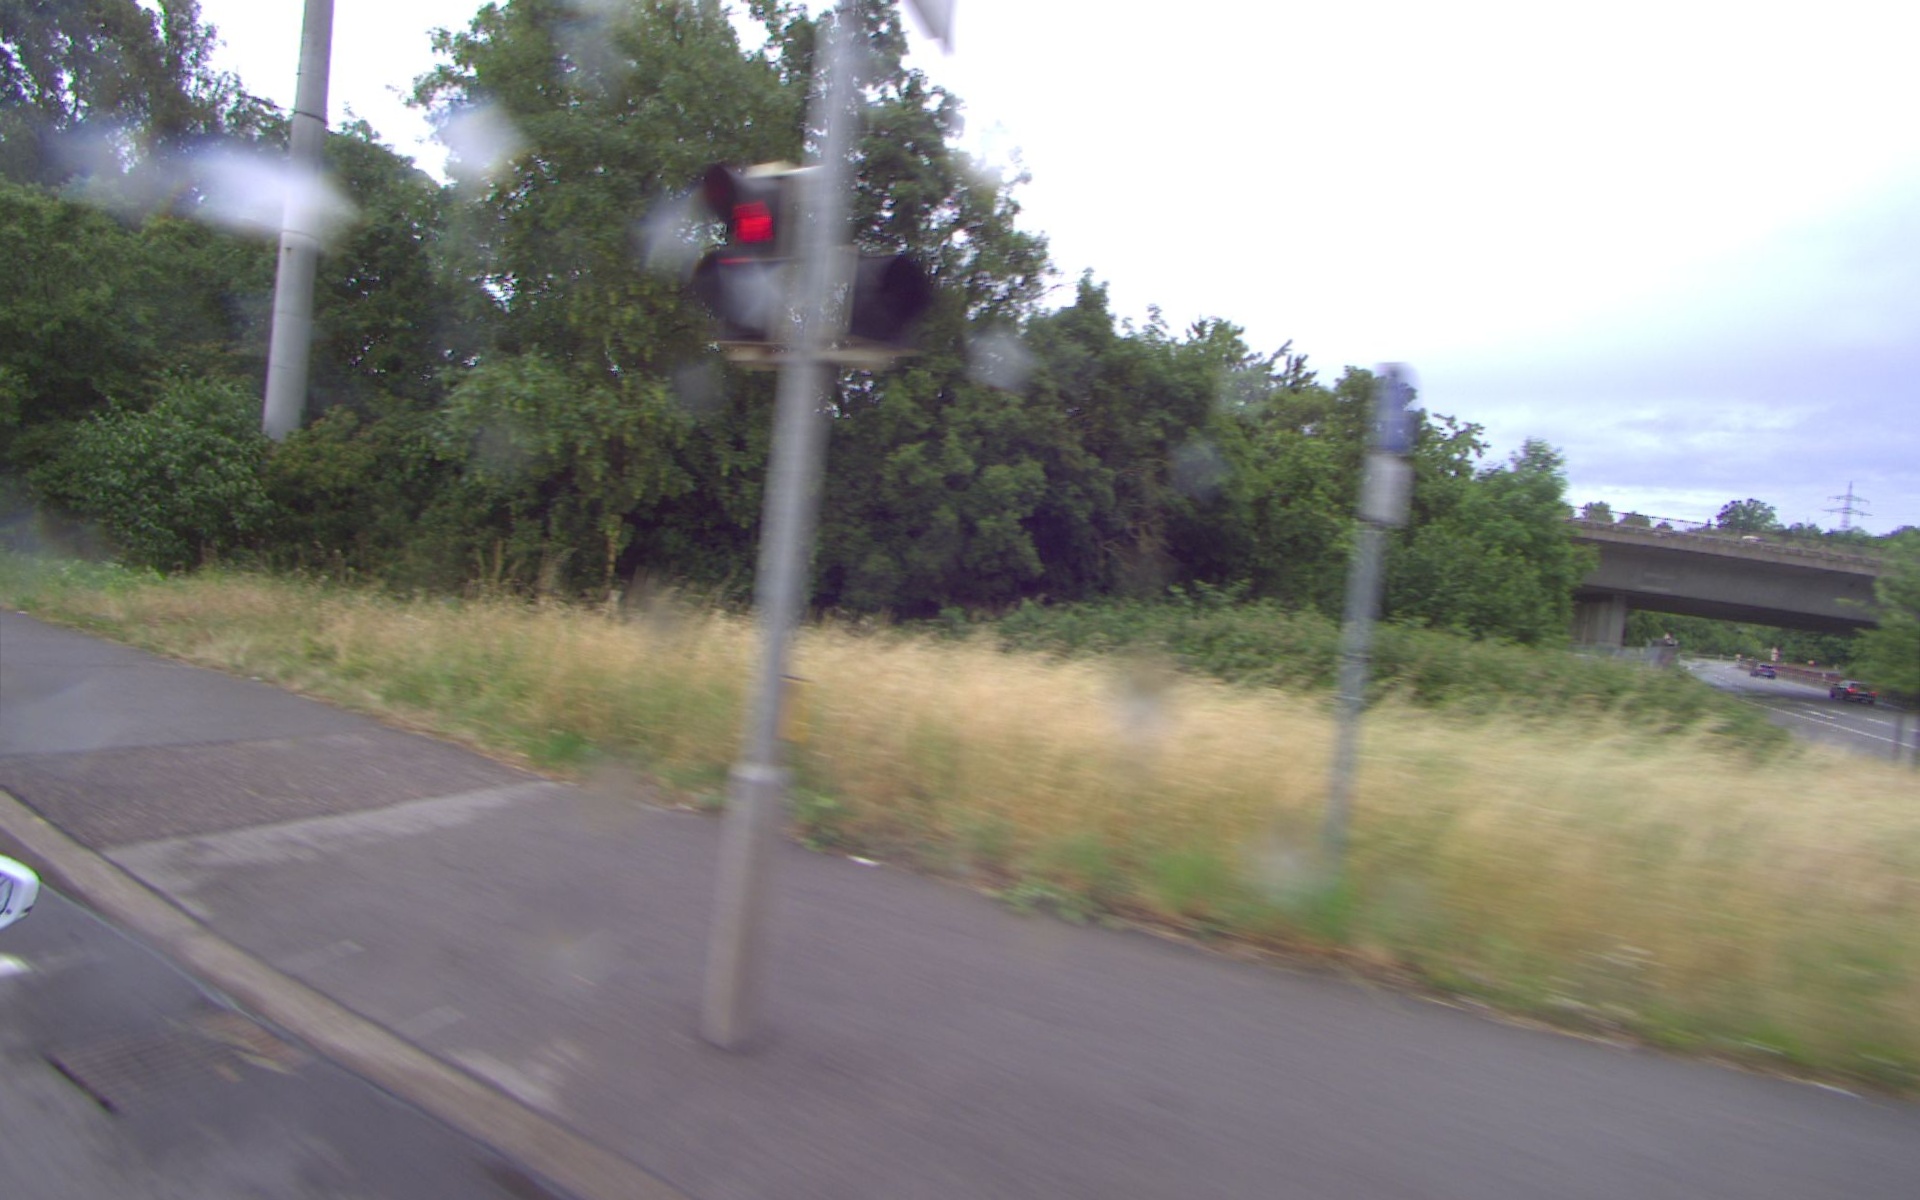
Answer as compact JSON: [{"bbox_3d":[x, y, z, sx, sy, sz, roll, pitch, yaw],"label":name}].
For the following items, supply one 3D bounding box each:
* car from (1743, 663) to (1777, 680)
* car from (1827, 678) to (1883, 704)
[{"bbox_3d":[84.743,7.543,106.665,1.869,1.503,3.996,8,0,27],"label":"car"},{"bbox_3d":[63.599,6.432,71.559,1.869,1.503,3.996,8,0,27],"label":"car"}]
